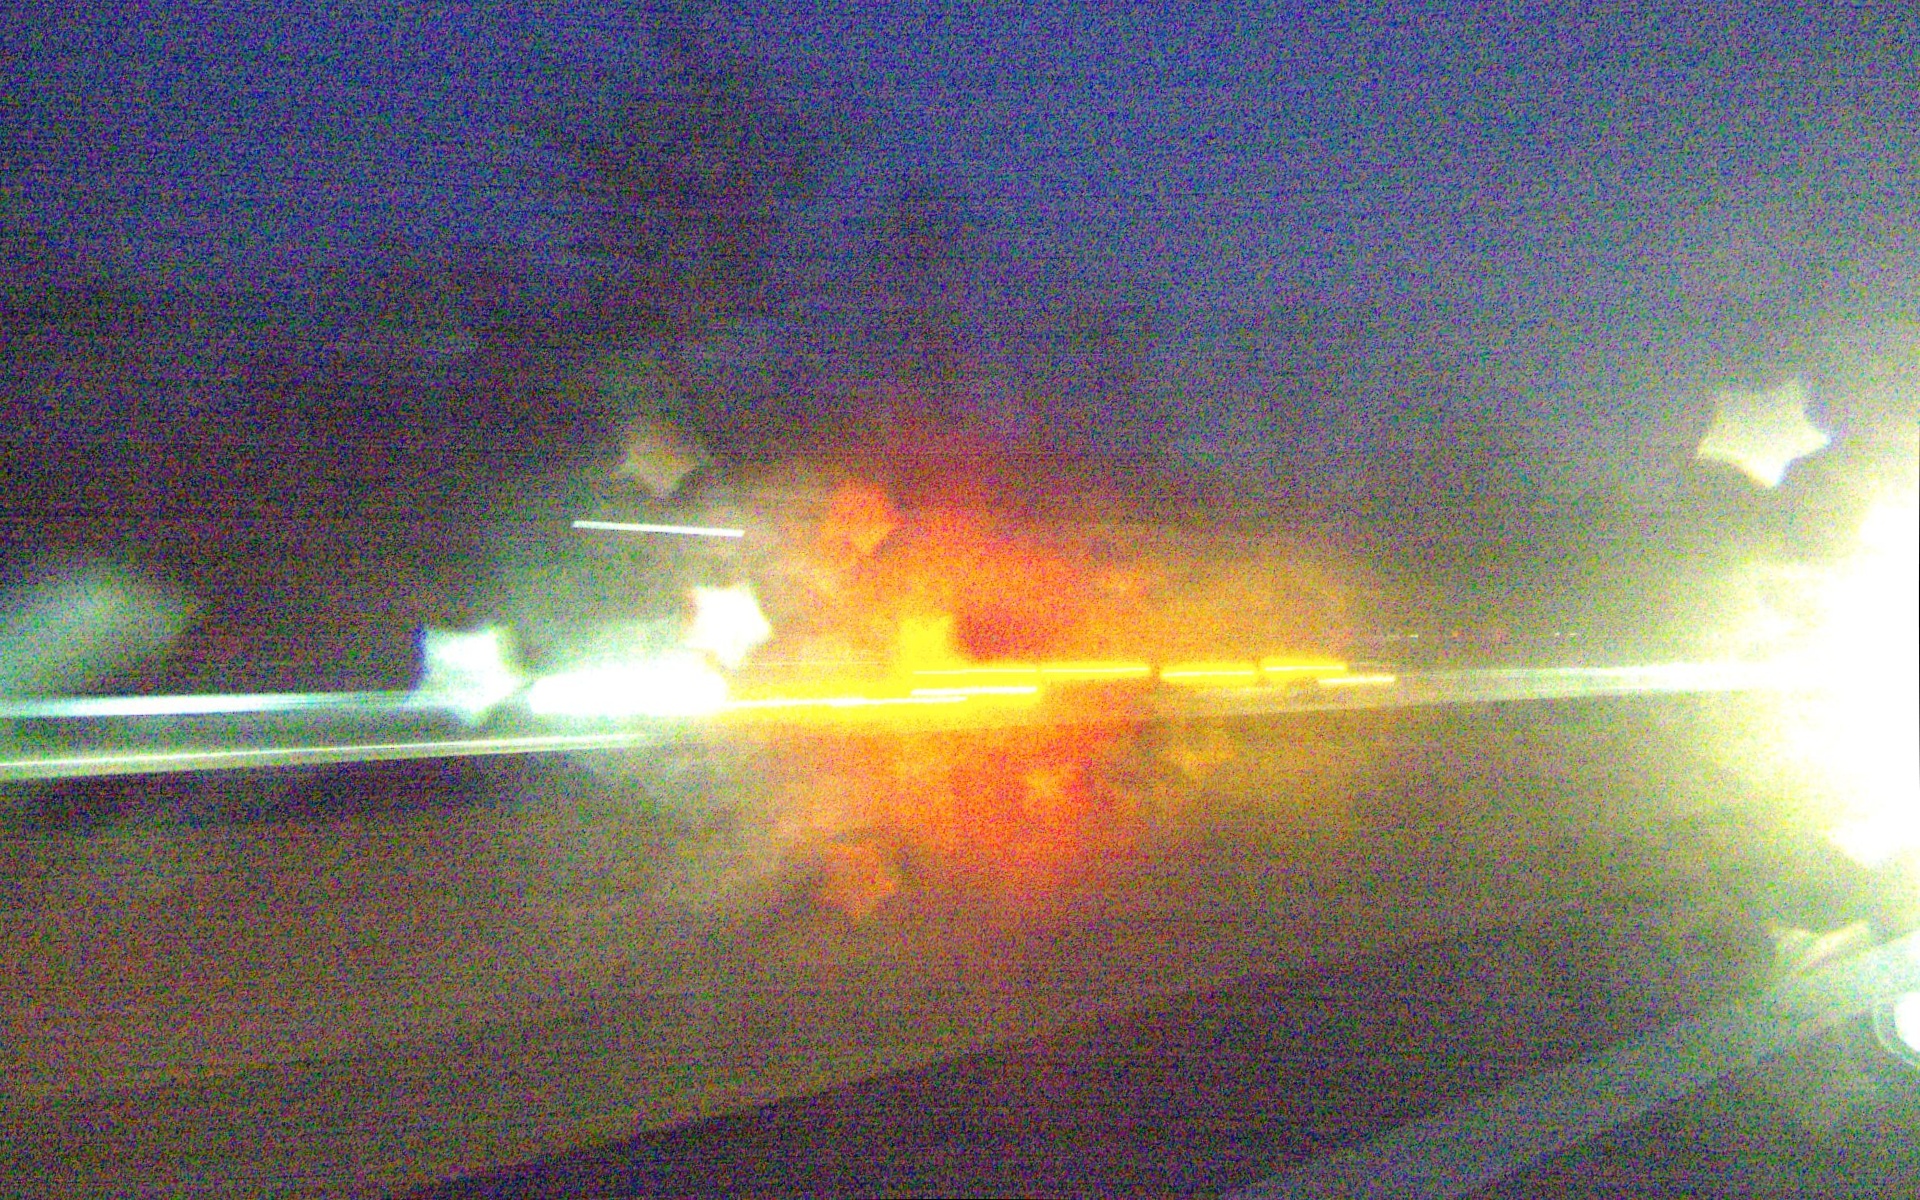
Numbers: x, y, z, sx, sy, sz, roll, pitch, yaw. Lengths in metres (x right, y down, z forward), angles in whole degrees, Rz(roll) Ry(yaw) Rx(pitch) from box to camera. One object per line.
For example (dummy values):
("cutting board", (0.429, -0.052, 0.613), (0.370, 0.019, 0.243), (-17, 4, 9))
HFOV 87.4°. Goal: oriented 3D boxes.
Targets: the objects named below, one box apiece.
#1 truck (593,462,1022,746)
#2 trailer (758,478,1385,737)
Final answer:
("truck", (-2.571, 0.144, 17.660), (6.912, 4.148, 2.907), (1, -2, -30))
("trailer", (3.024, 0.252, 20.951), (14.055, 4.148, 2.953), (1, -2, -31))
